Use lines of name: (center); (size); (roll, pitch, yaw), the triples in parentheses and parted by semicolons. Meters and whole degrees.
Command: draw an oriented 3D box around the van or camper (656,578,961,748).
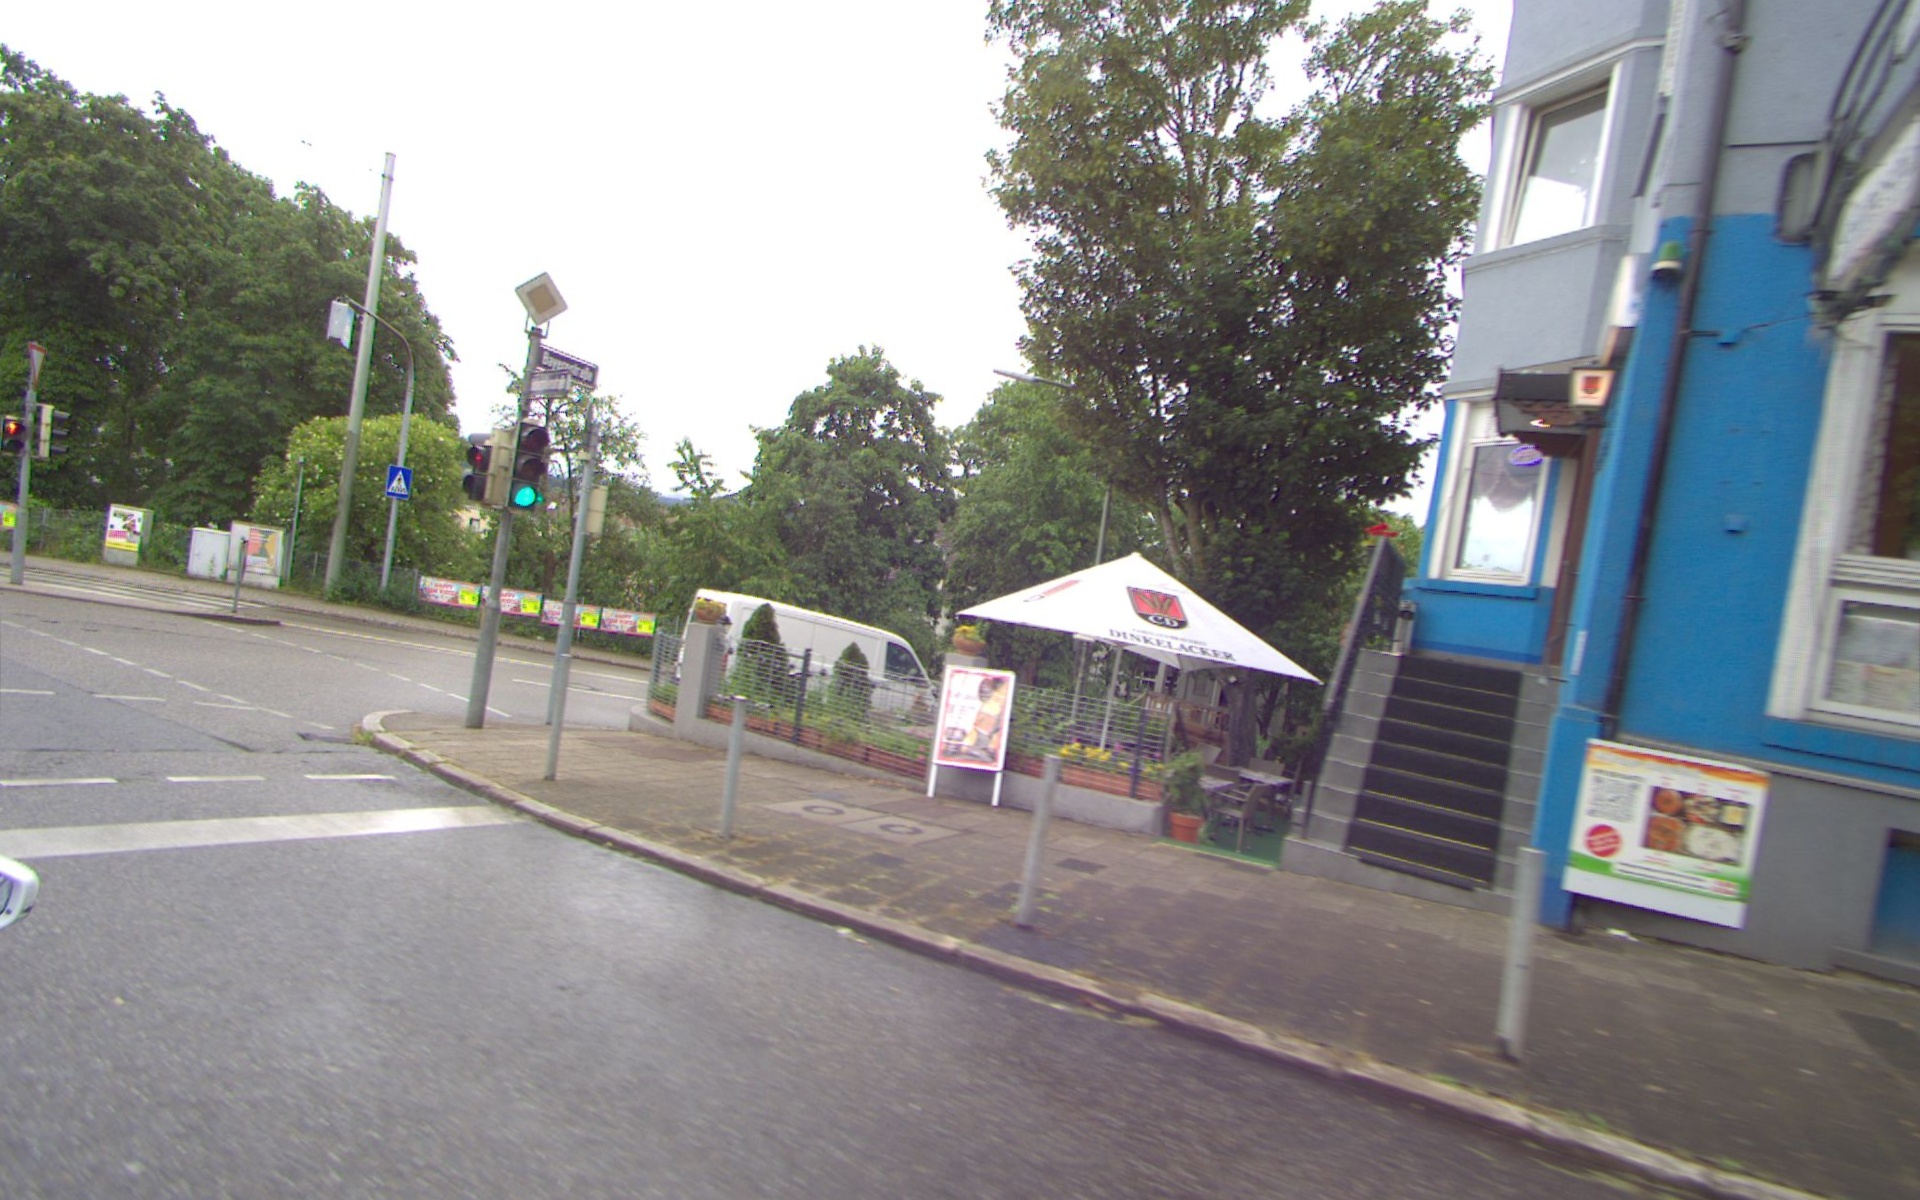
van or camper: (-2.887, 1.315, 20.016); (5.382, 2.349, 2.089); (14, -4, -37)
